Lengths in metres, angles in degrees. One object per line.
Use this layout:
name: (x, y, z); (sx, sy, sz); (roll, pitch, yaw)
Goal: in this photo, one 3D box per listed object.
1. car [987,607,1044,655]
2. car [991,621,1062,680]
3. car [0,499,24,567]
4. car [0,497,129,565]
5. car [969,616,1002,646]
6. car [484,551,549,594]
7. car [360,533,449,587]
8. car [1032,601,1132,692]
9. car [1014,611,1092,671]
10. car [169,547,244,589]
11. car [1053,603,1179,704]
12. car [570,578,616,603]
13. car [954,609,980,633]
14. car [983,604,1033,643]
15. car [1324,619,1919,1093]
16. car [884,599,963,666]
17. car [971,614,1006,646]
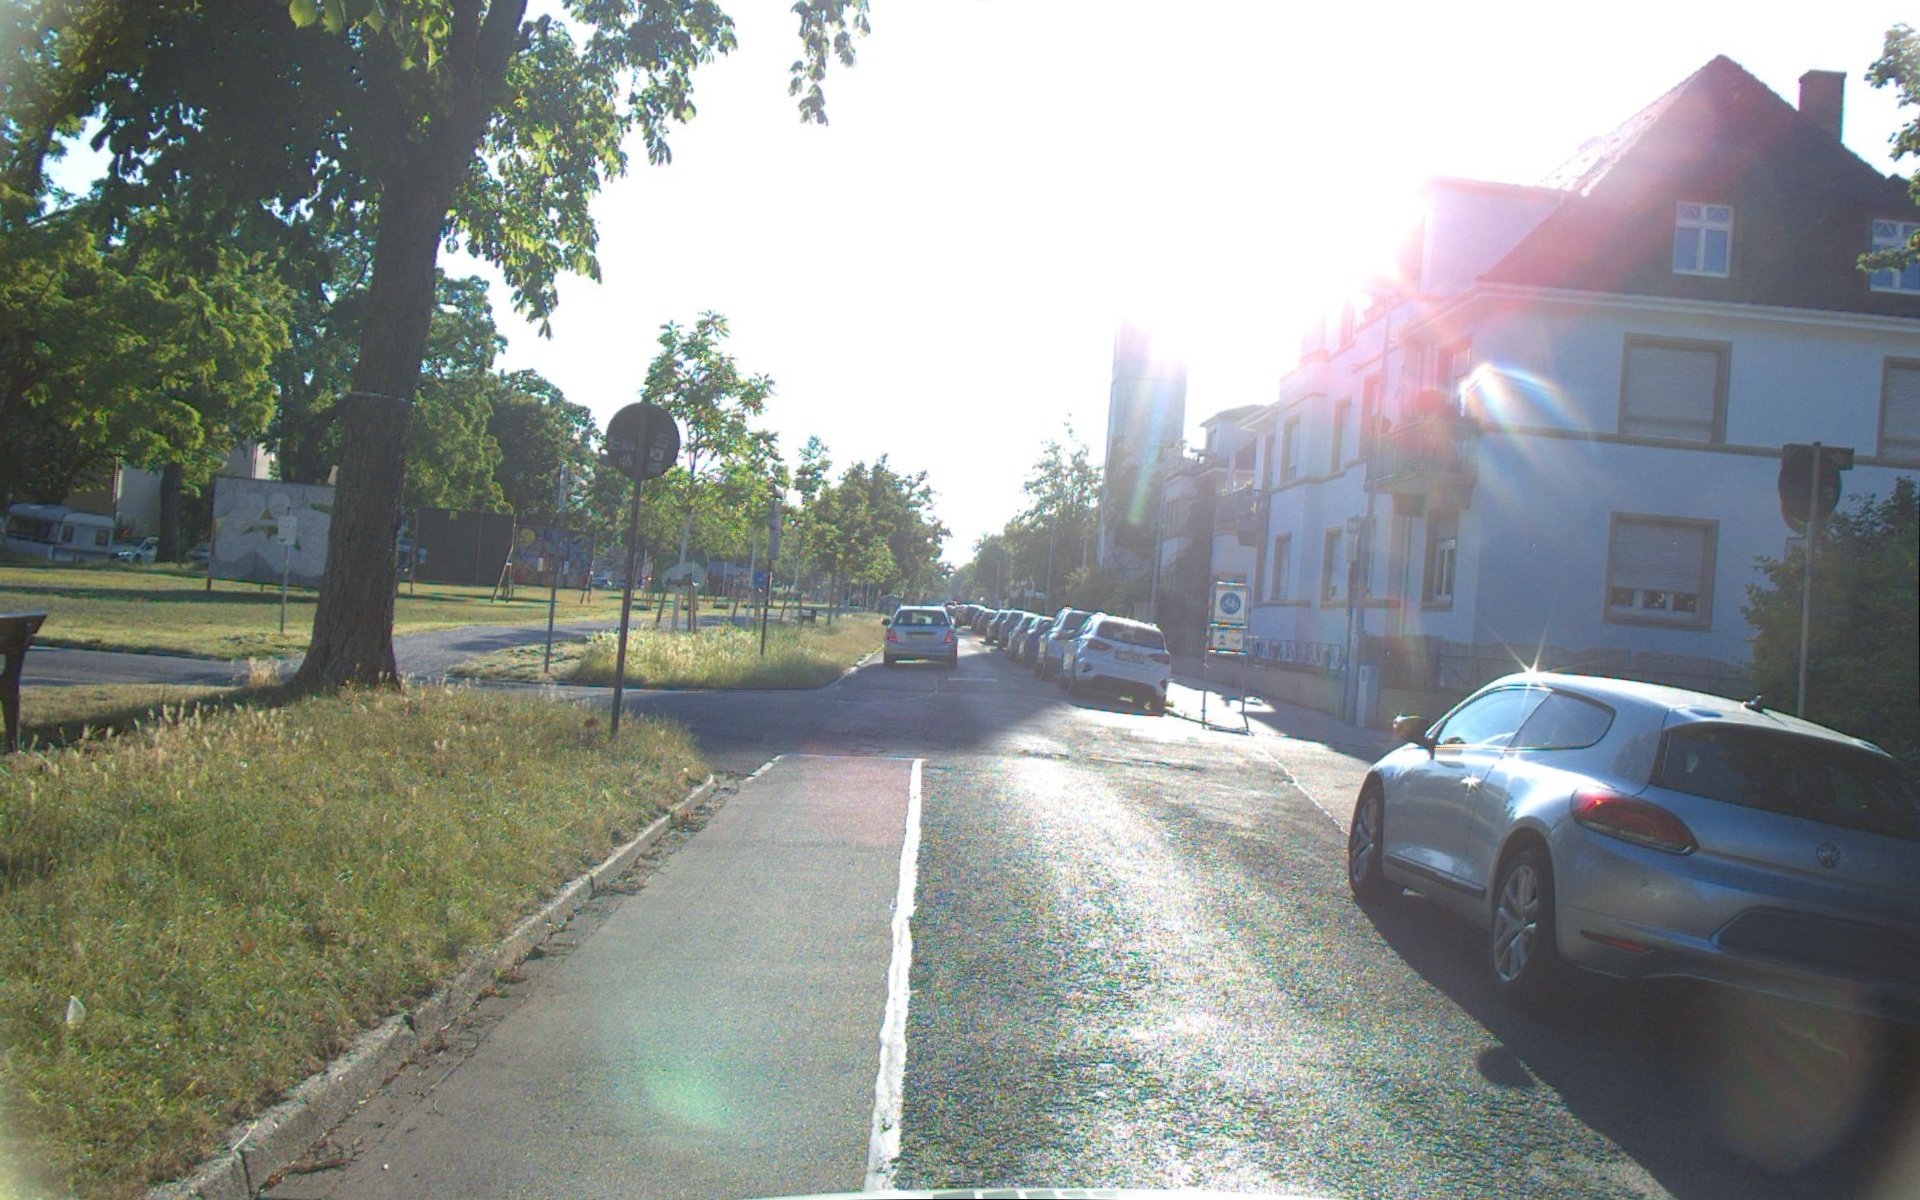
car: (2.045, 1.120, 61.724); (1.726, 1.547, 3.998); (6, 0, -2)
car: (2.036, 1.544, 51.585); (1.727, 1.443, 3.998); (9, 0, -2)
car: (-33.695, -2.381, 55.117); (1.953, 2.289, 5.186); (4, 0, -1)
car: (-33.992, -2.559, 62.323); (2.483, 2.275, 5.458); (4, 0, -1)
car: (1.594, 1.959, 104.937); (1.953, 1.657, 4.000); (4, 0, 0)
car: (-35.027, -2.129, 130.891); (3.095, 3.045, 6.892); (2, -1, 0)
car: (-34.641, -2.434, 103.402); (3.095, 3.045, 6.892); (2, -1, 0)
car: (2.689, 0.986, 37.202); (1.653, 1.678, 4.099); (9, 0, -1)
car: (2.545, 1.110, 46.168); (1.726, 1.444, 3.998); (5, 0, -2)
car: (-40.180, -1.664, 88.313); (1.953, 2.049, 4.483); (2, -1, -1)
car: (2.861, 0.948, 31.281); (1.723, 1.632, 4.357); (4, 0, -2)
car: (-36.354, -0.908, 163.901); (3.095, 2.185, 6.109); (2, -1, 0)
car: (0.584, 1.674, 133.015); (1.940, 1.712, 4.000); (4, 0, 0)
car: (2.070, 1.008, 72.332); (1.953, 1.489, 4.000); (4, 0, 0)
car: (3.178, 0.986, 7.969); (1.723, 1.443, 4.071); (11, 0, 0)
car: (-0.895, 0.741, 39.567); (1.725, 1.445, 3.998); (3, 0, -2)
car: (1.668, 1.771, 98.285); (1.953, 1.657, 4.000); (4, 0, 0)
